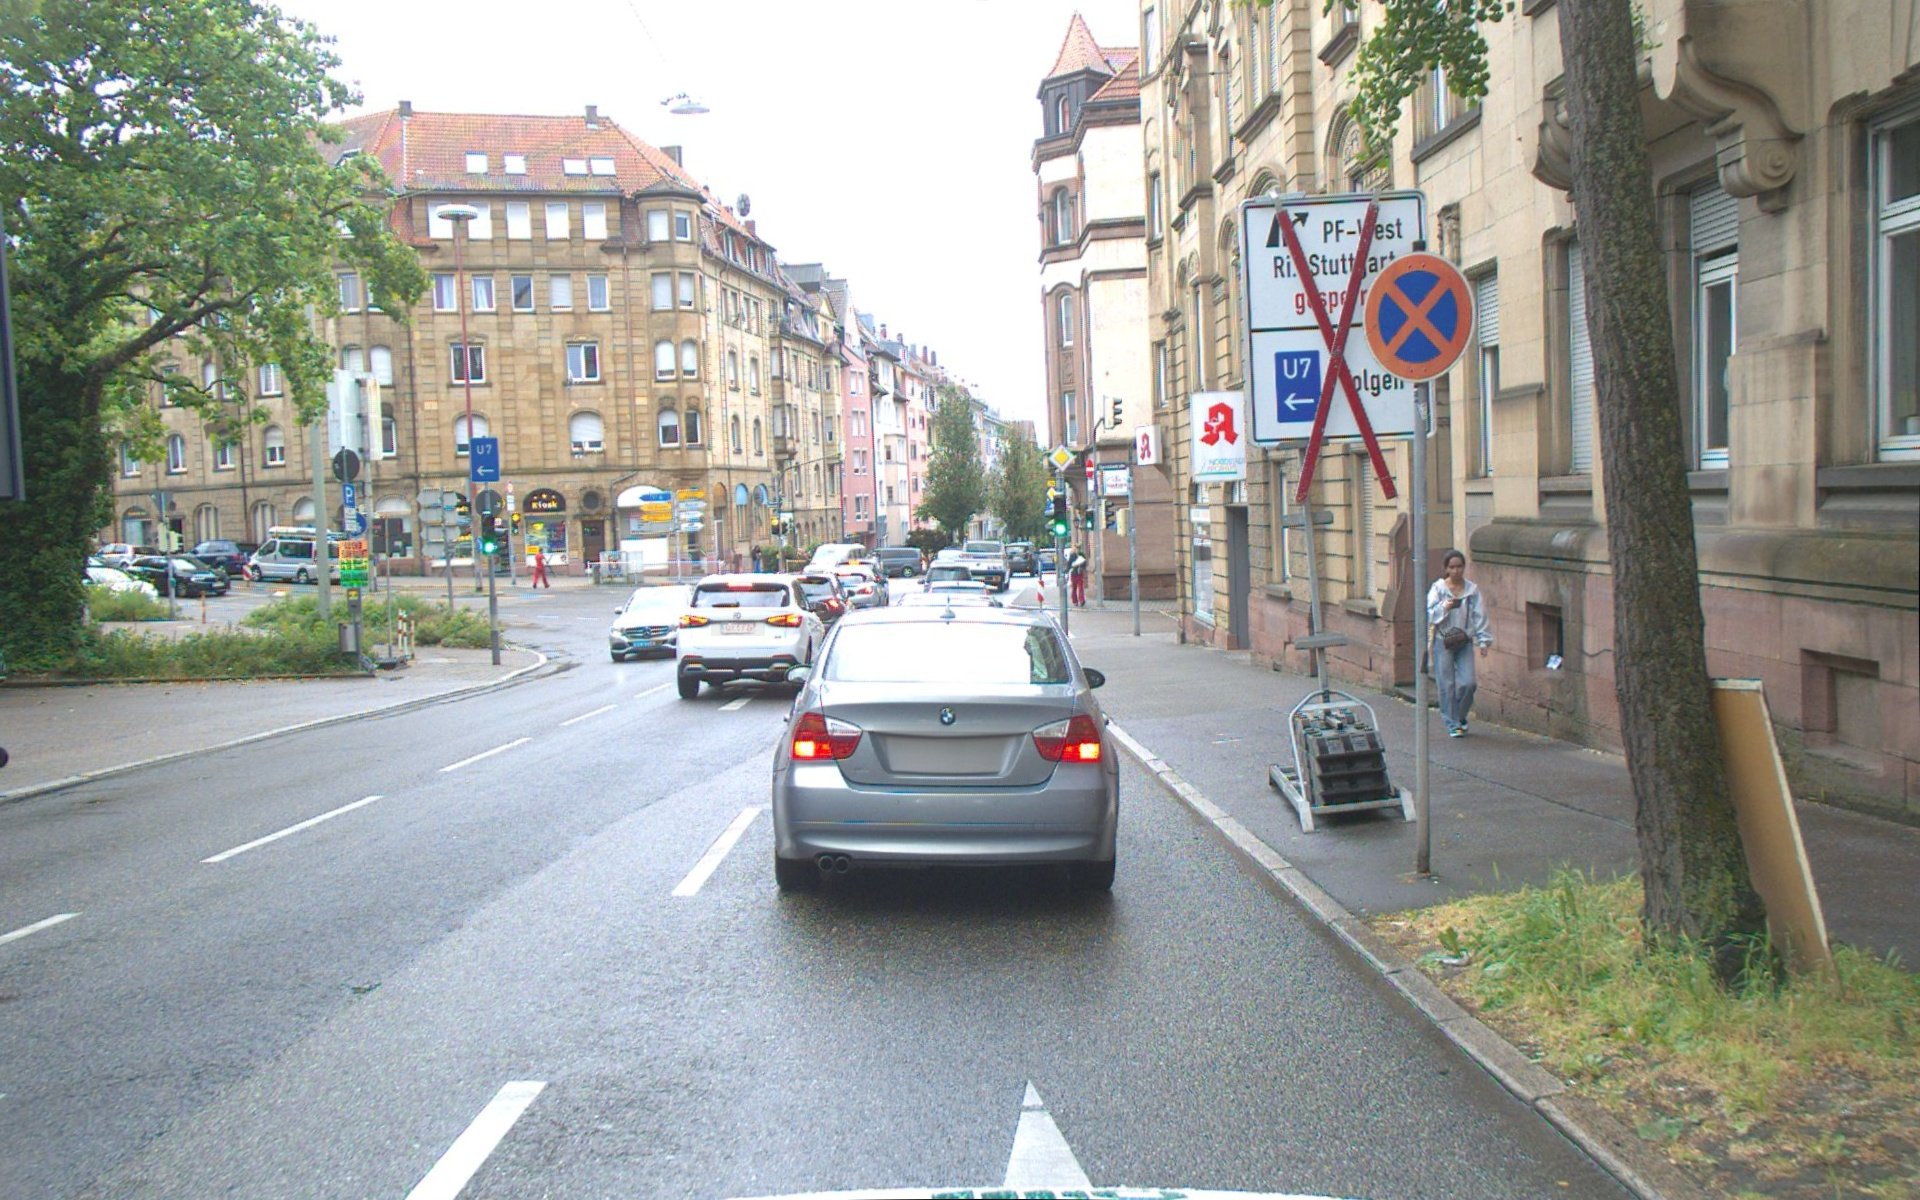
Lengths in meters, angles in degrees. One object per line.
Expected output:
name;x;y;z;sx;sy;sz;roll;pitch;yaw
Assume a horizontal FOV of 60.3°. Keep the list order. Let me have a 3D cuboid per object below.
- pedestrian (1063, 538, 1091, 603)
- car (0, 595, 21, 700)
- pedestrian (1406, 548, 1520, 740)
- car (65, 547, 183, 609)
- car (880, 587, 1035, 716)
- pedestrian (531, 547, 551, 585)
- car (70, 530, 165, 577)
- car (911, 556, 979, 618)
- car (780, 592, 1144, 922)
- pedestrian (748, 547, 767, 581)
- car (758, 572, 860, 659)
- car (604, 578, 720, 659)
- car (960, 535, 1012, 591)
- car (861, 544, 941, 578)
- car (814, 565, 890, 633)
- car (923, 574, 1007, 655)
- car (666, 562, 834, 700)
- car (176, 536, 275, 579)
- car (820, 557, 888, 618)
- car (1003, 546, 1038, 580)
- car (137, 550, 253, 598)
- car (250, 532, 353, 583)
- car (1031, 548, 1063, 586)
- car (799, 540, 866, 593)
pedestrian;3.518;-0.891;49.748;0.727;1.943;0.659;-1;1;-1
car;-17.488;0.804;26.466;4.068;1.682;1.756;-1;0;-24
pedestrian;4.248;0.361;14.003;0.618;1.534;0.693;-5;0;-1
car;-29.331;-0.751;58.021;3.914;2.049;1.874;-1;1;31
car;0.000;0.560;20.495;1.723;1.407;4.001;0;1;1
pedestrian;-18.033;-1.458;71.193;0.525;1.605;0.720;-2;0;17
car;-39.956;-2.229;78.462;4.197;2.138;1.997;2;3;28
car;-0.370;-0.376;45.278;1.723;1.594;4.001;0;1;1
car;0.036;0.680;9.071;1.590;1.407;3.616;0;1;1
pedestrian;-9.529;-1.701;77.893;0.716;1.605;0.529;-1;1;8
car;-3.128;0.279;34.994;1.723;1.737;4.001;0;1;1
car;-6.498;0.356;36.482;1.703;1.553;4.471;-4;1;-1
car;0.987;-1.434;65.479;1.953;2.143;4.000;0;0;0
car;-3.784;-2.499;107.218;5.071;2.049;2.698;1;0;-1
car;-2.867;-0.049;44.605;1.723;1.737;4.001;0;1;1
car;0.127;0.243;32.655;1.562;1.490;4.001;0;1;1
car;-2.859;0.355;23.311;1.830;1.653;4.000;-2;2;-1
car;-33.552;-1.959;75.534;4.197;1.870;1.997;2;3;28
car;-3.126;-0.386;49.371;1.723;1.737;4.001;0;1;1
car;3.072;-1.862;84.216;1.689;1.579;4.001;1;0;2
car;-29.249;-1.018;63.223;4.157;1.756;1.996;1;3;31
car;-29.209;-1.919;73.351;4.197;2.138;1.997;2;3;28
car;5.060;-1.895;95.966;1.689;2.049;4.002;1;0;5
car;-4.931;-1.318;64.429;1.724;1.959;4.327;-1;1;7
